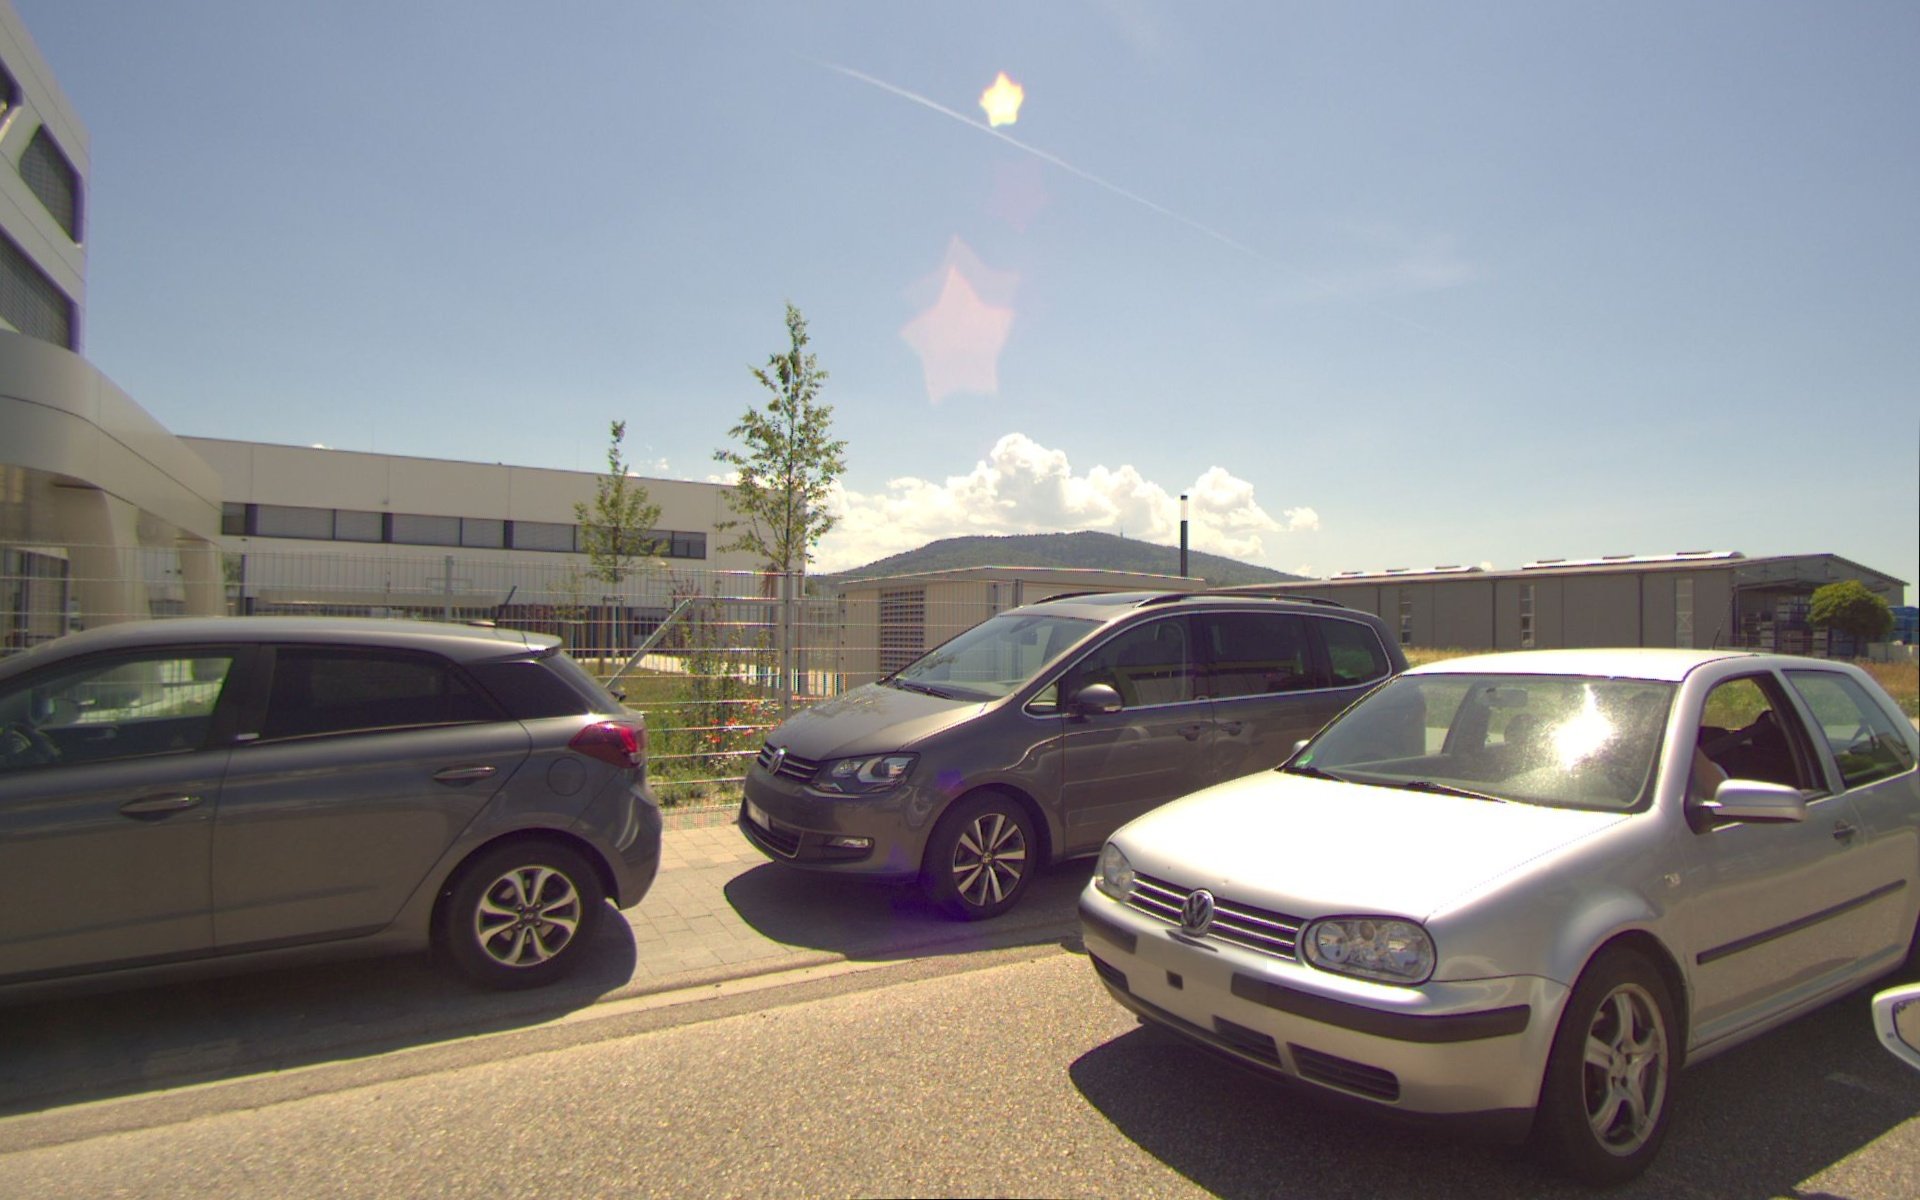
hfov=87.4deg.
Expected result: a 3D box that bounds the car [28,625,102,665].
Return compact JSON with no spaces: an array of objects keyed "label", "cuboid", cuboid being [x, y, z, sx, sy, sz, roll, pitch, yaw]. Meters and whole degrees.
[{"label":"car","cuboid":[-37.745,1.879,42.461,1.904,1.606,3.960,2,-3,-36]}]

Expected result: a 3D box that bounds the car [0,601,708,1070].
[{"label":"car","cuboid":[-3.222,0.788,4.170,3.923,1.520,1.627,2,-1,-29]}]

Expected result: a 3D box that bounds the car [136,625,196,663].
[{"label":"car","cuboid":[-35.103,1.924,44.489,1.904,1.606,3.960,2,-3,-36]}]

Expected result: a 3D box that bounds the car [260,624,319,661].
[{"label":"car","cuboid":[-30.718,1.957,46.120,1.899,1.606,3.970,2,-3,-29]}]

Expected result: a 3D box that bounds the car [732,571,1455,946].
[{"label":"car","cuboid":[1.015,0.799,6.605,4.568,1.742,1.794,2,-1,-30]}]

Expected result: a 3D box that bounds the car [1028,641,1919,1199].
[{"label":"car","cuboid":[2.711,0.924,4.211,4.728,1.429,1.696,2,-4,-30]}]
